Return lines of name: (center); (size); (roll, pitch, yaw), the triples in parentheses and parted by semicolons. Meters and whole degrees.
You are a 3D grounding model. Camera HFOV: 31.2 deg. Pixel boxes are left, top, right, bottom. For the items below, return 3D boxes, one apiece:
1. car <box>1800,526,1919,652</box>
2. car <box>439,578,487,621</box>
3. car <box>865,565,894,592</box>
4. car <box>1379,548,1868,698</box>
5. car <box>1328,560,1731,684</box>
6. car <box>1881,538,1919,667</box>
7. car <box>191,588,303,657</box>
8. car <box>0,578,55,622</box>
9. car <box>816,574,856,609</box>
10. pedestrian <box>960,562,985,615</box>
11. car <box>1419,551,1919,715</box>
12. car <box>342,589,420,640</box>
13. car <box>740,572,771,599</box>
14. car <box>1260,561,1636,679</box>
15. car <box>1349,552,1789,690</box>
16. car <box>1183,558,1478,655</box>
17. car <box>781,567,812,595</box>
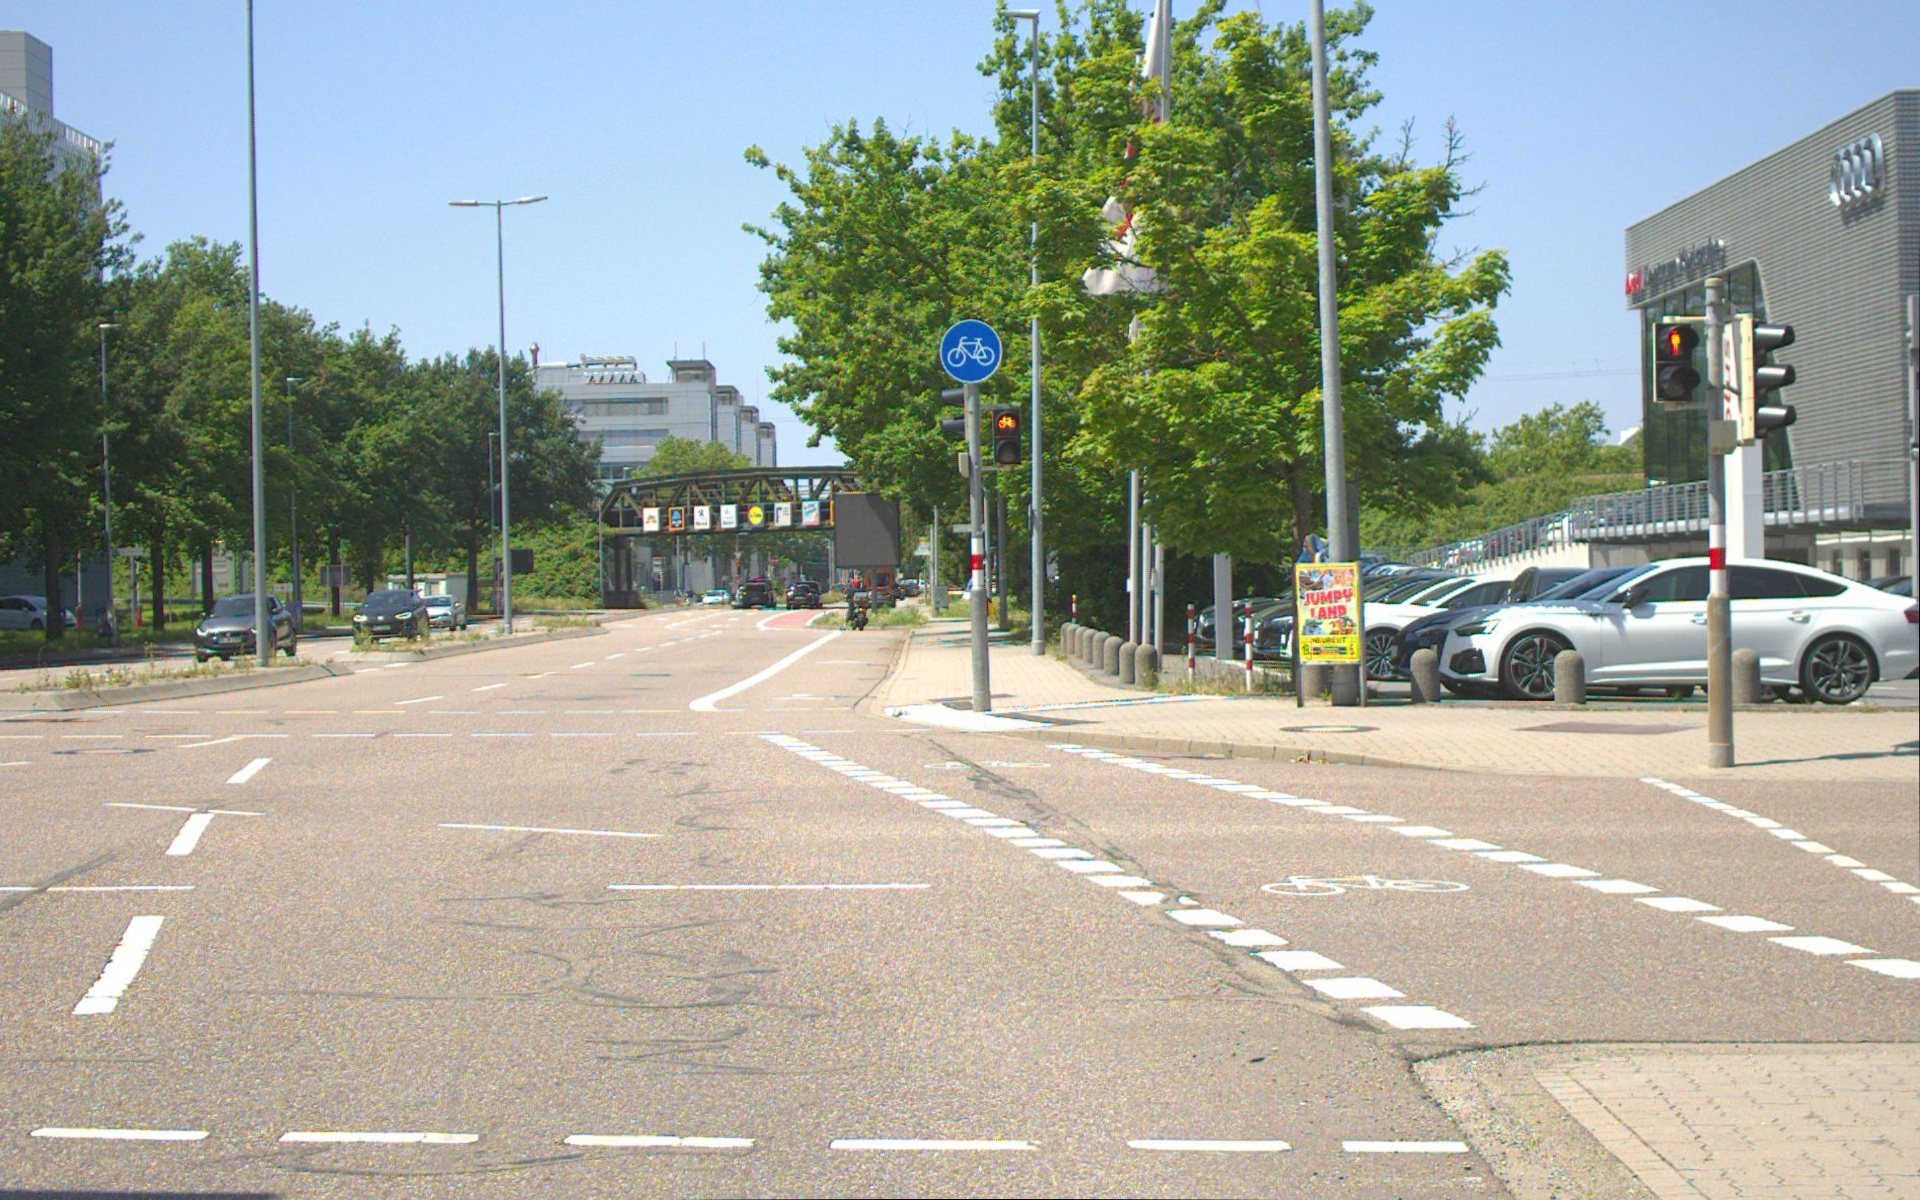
car: (16.139, -0.219, 56.841); (3.987, 2.007, 2.000); (-1, 1, 1)
car: (-19.925, -0.033, 137.967); (1.648, 1.647, 4.164); (-1, 1, -5)
car: (-5.134, -1.369, 220.697); (1.772, 1.722, 4.000); (-1, 0, -1)
car: (6.866, 0.245, 35.969); (4.741, 1.452, 2.000); (-1, 0, 2)
car: (7.204, 0.259, 43.800); (4.741, 1.452, 2.000); (-1, 1, -2)
car: (16.841, -0.010, 54.372); (3.987, 2.007, 2.000); (-1, 1, 1)
car: (-16.063, 0.491, 77.588); (1.732, 1.422, 3.706); (-3, 0, -1)
car: (-41.576, -0.021, 150.067); (4.025, 1.804, 1.995); (2, 1, 40)
car: (-3.797, -0.270, 105.393); (1.137, 1.038, 2.308); (-1, 1, -1)
pedestrian: (0.353, -0.332, 97.907); (0.668, 1.505, 0.736); (-1, 0, -1)
car: (6.937, 0.295, 33.263); (4.741, 1.452, 2.000); (-1, 1, 2)
car: (-16.946, 0.409, 100.743); (1.684, 1.406, 3.665); (-1, 0, -1)
car: (-13.409, -0.974, 225.665); (1.772, 1.722, 4.000); (-1, 0, -1)
car: (6.557, 0.253, 46.552); (4.741, 1.452, 2.000); (-1, 1, -2)
car: (6.963, 0.224, 39.677); (4.741, 1.452, 2.000); (-1, 1, 2)
car: (6.304, 0.097, 58.820); (4.741, 1.452, 2.000); (-2, 1, -2)
car: (-10.456, -1.237, 219.888); (1.772, 1.722, 4.000); (-1, 0, -1)
